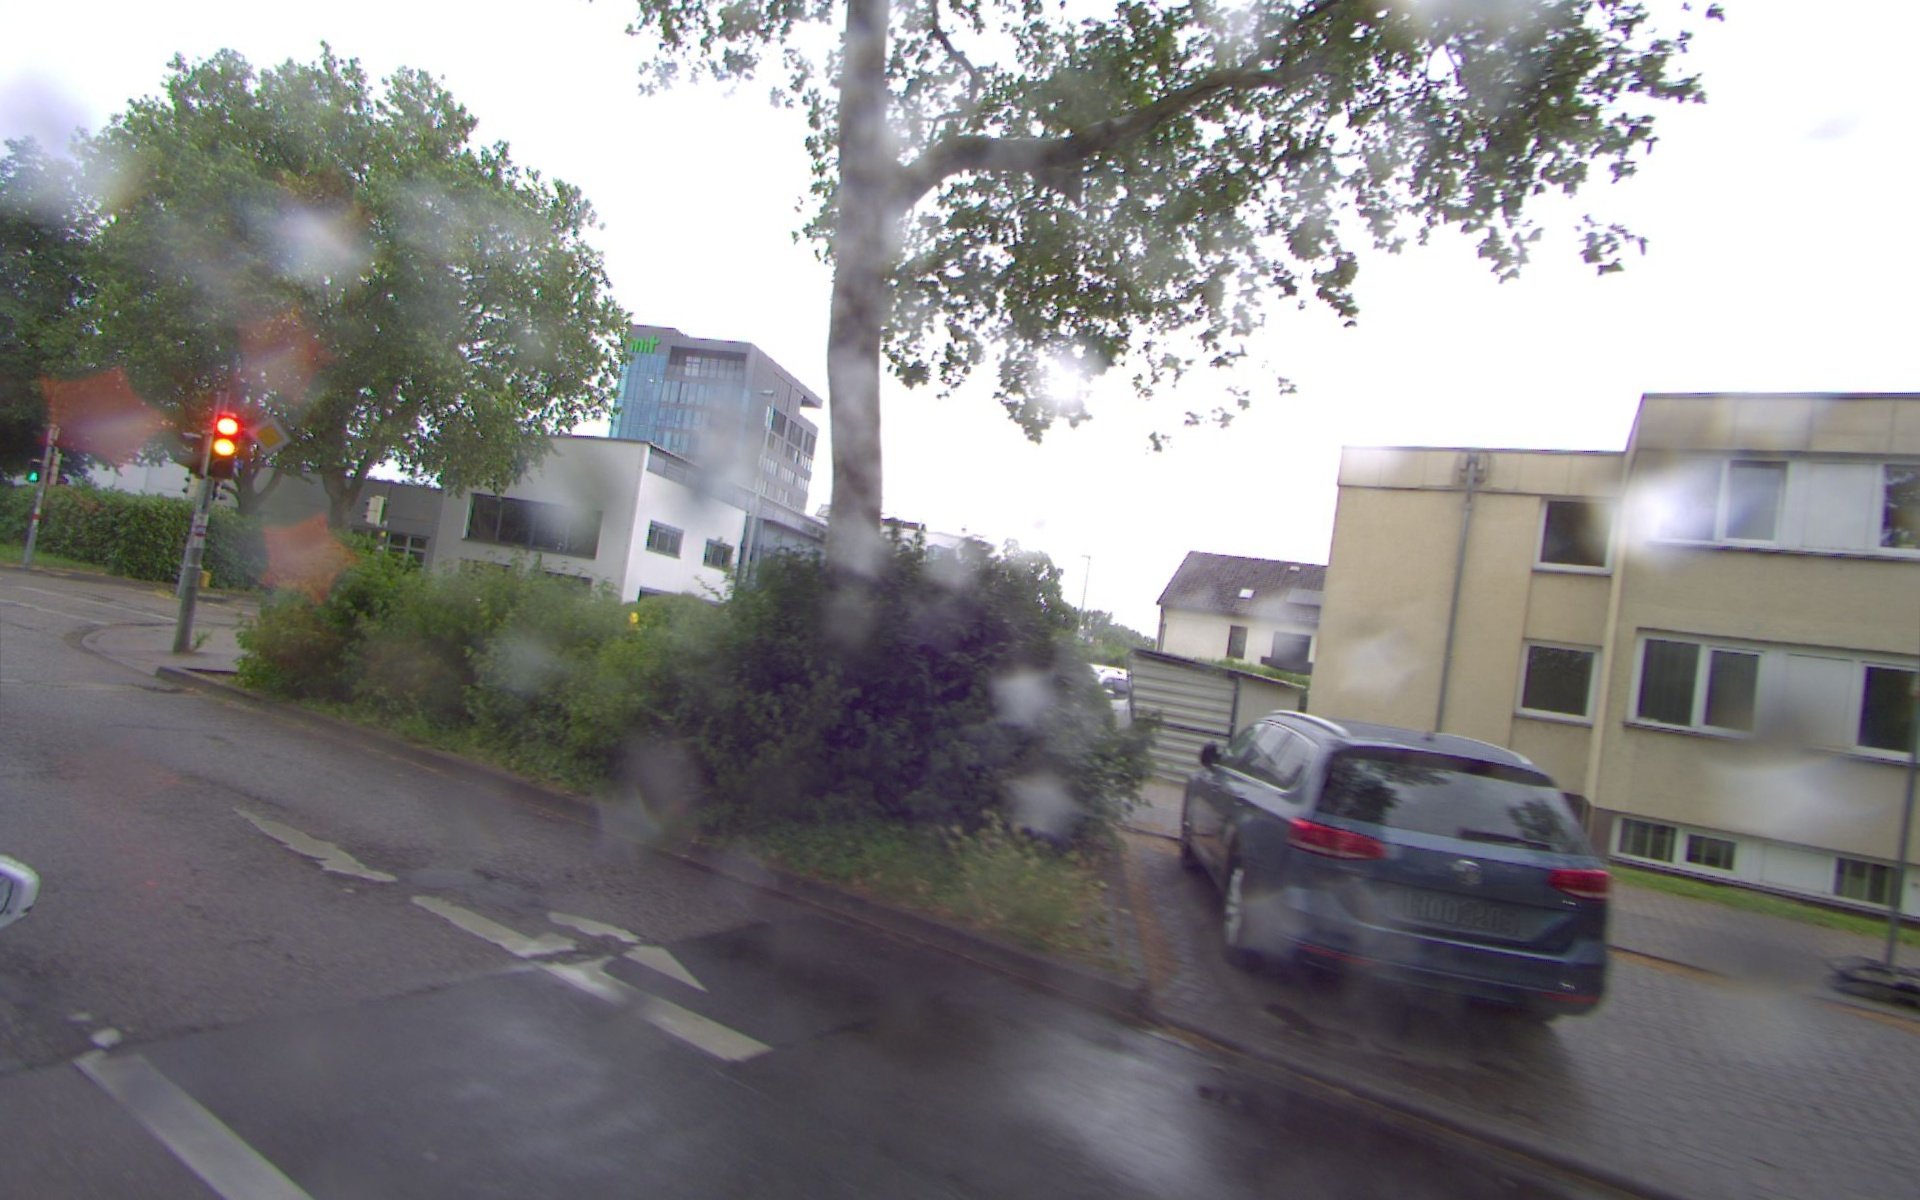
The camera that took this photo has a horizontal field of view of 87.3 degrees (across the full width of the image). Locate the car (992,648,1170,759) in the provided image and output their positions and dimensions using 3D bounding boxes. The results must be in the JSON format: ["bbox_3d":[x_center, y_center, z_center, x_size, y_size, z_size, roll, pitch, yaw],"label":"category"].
[{"bbox_3d":[2.569,2.122,20.276,1.720,1.776,4.550,7,-3,30],"label":"car"}]

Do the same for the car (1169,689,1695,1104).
[{"bbox_3d":[2.570,1.510,6.771,1.716,1.475,4.503,8,-3,7],"label":"car"}]

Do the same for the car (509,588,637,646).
[{"bbox_3d":[-15.010,0.708,39.238,1.857,1.608,4.303,7,-3,31],"label":"car"}]
